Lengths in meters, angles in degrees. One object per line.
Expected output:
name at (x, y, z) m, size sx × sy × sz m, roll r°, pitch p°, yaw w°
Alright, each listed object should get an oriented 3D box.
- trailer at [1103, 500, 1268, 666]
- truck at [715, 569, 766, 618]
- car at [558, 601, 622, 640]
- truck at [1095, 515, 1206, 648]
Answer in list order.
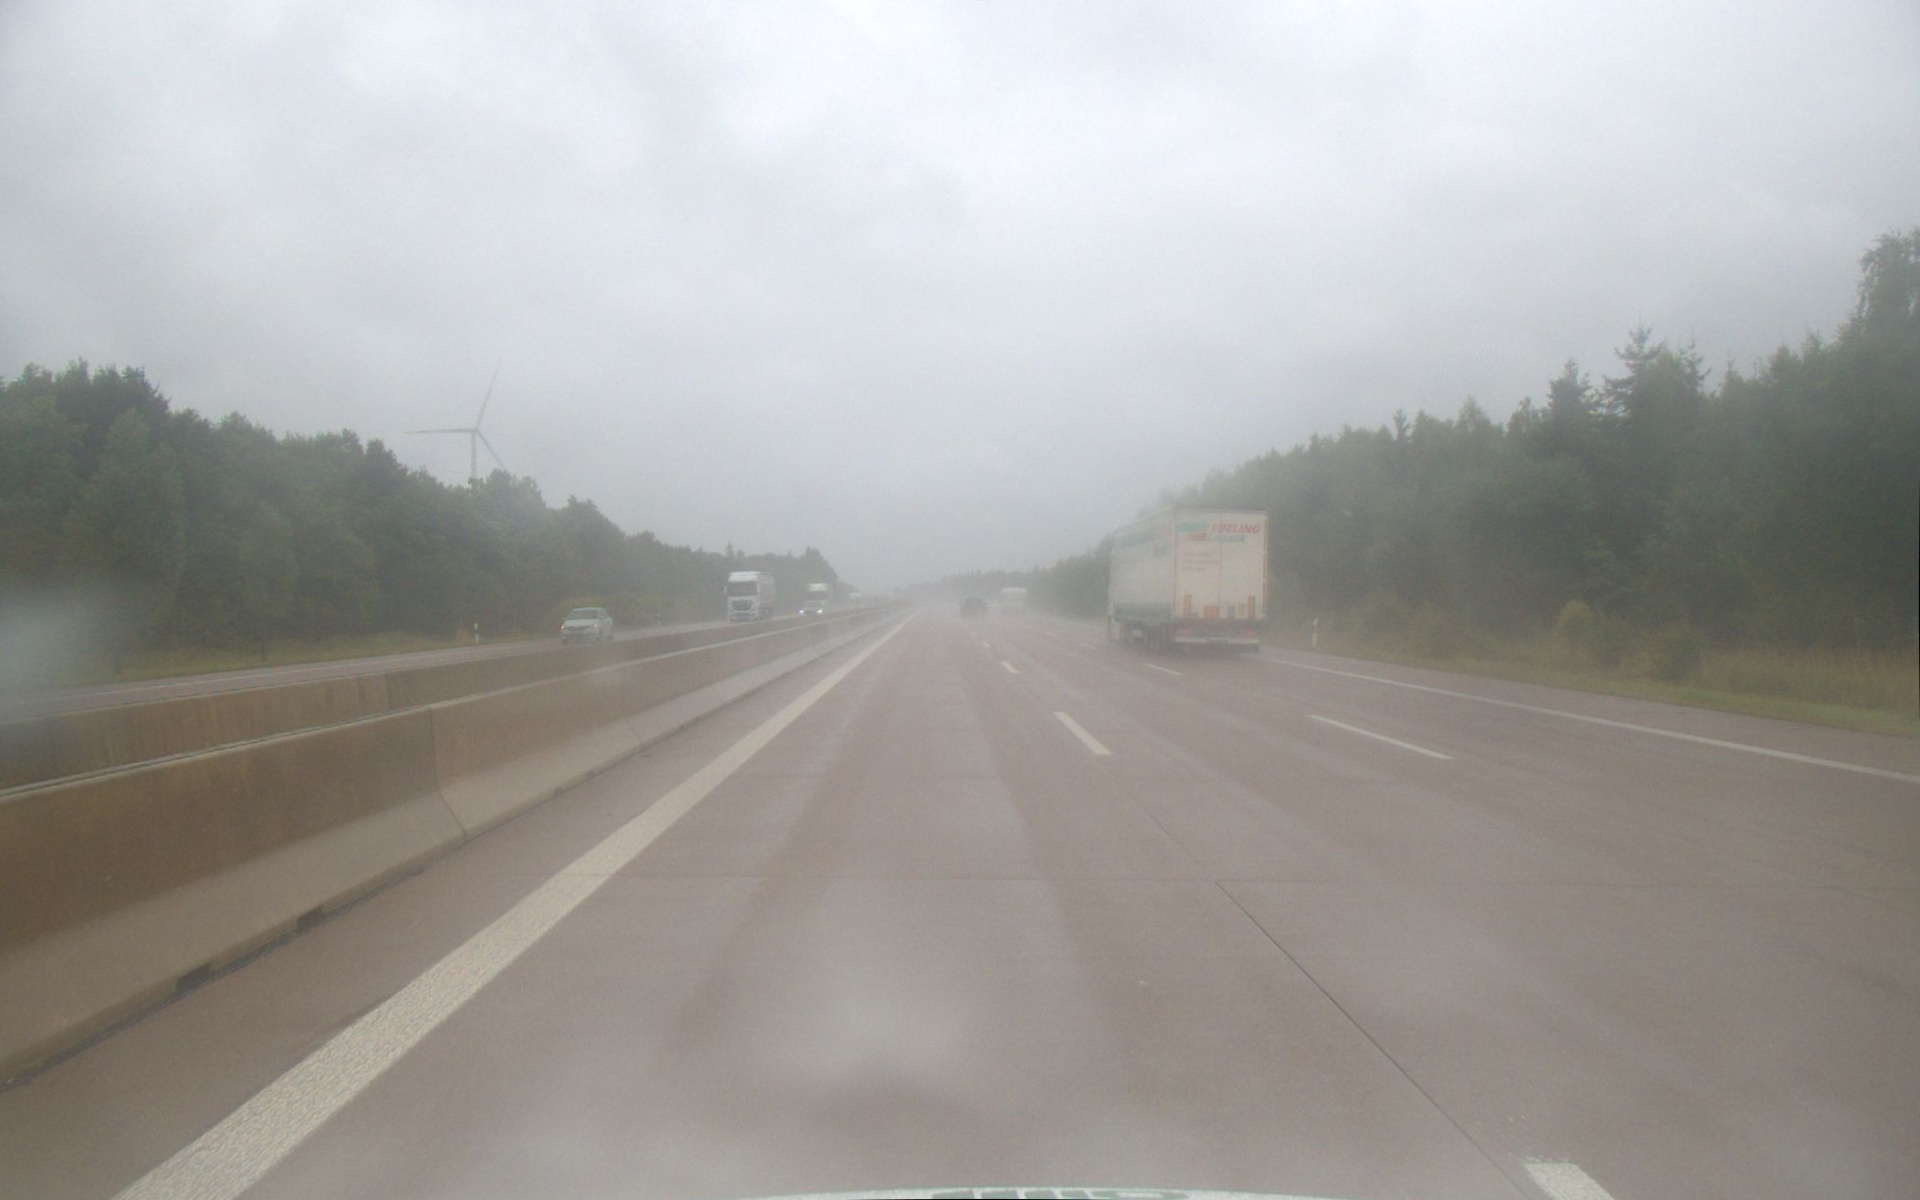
trailer at (6.504, -0.527, 50.084) m, size 2.795 × 4.305 × 13.128 m, roll -1°, pitch 1°, yaw -1°
truck at (-18.396, -0.491, 139.063) m, size 3.402 × 3.957 × 7.461 m, roll 1°, pitch 0°, yaw -2°
car at (-15.984, 0.869, 71.621) m, size 1.718 × 1.505 × 4.582 m, roll -3°, pitch 0°, yaw -1°
truck at (6.345, -0.633, 56.125) m, size 2.822 × 4.178 × 6.348 m, roll -1°, pitch 1°, yaw -1°
